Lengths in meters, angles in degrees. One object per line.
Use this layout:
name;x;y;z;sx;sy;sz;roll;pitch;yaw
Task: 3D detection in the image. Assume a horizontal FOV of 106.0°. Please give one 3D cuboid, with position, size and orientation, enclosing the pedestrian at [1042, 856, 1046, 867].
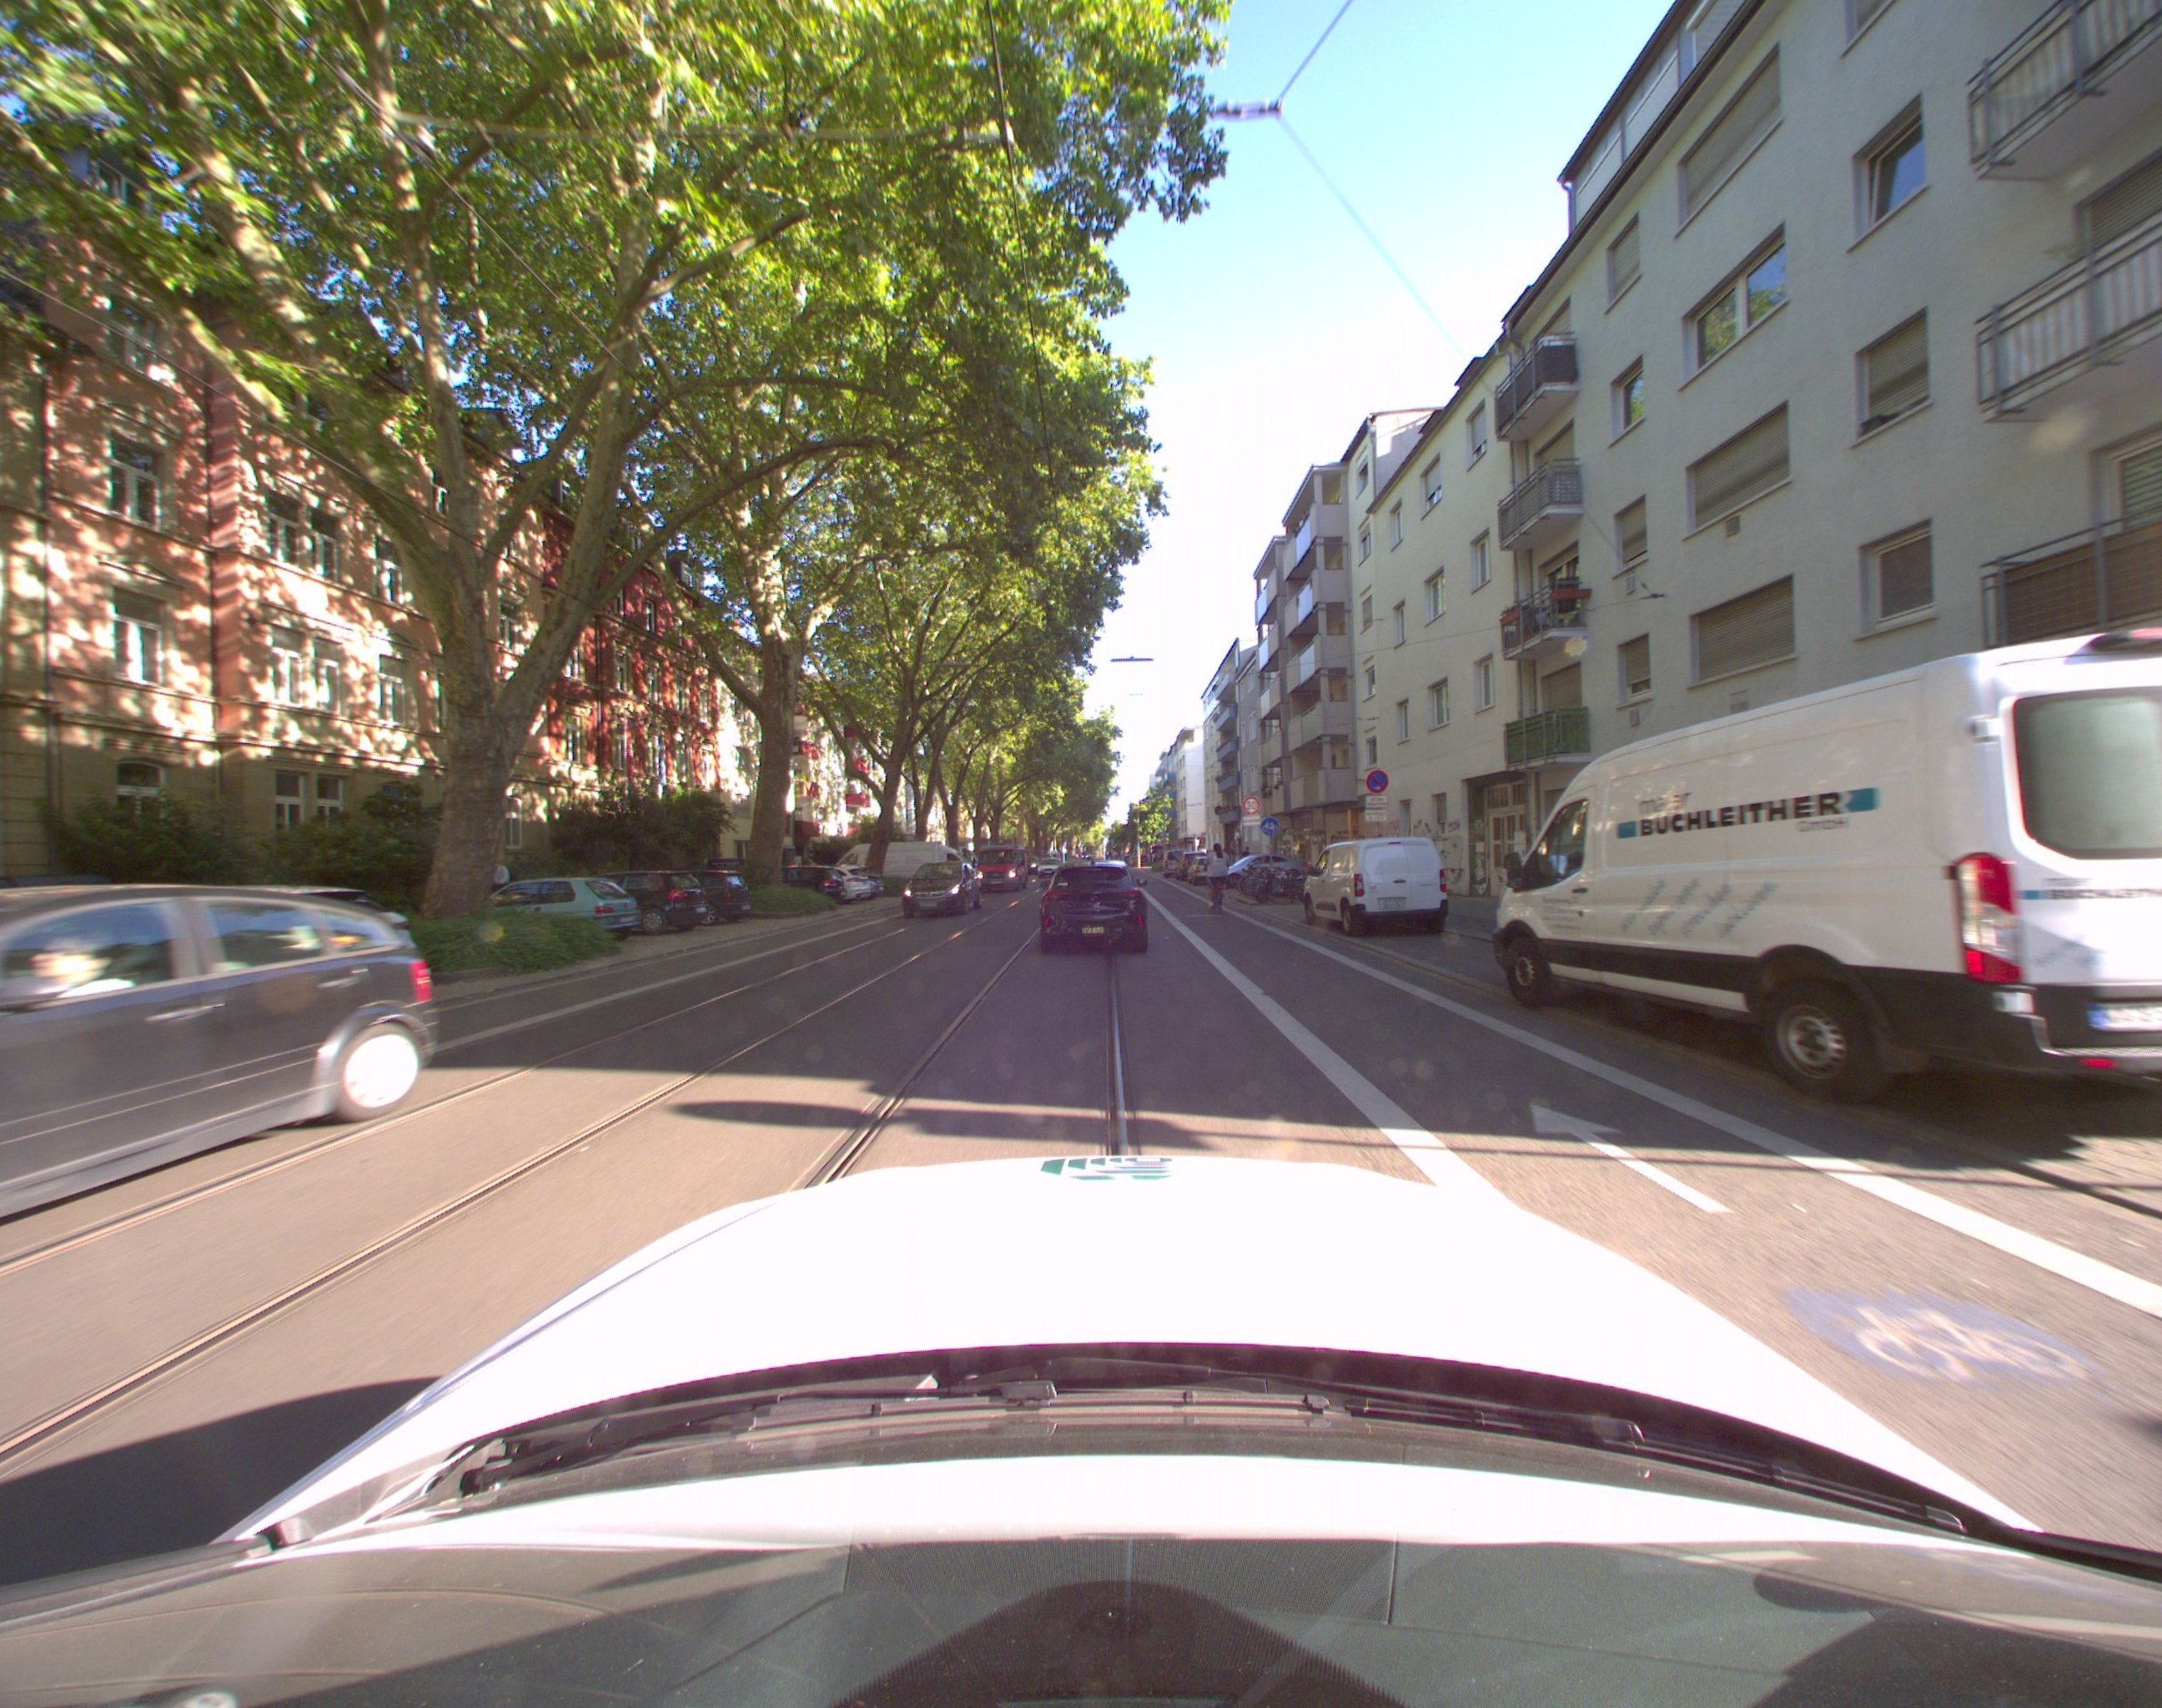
pedestrian;-5.590;1.092;123.138;0.505;1.583;0.526;-2;-1;-2

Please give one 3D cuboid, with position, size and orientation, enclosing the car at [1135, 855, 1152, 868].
car;8.115;1.009;106.727;1.714;1.574;4.081;-2;0;-2

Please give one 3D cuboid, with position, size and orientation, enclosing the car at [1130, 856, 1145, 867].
car;7.761;0.991;112.202;1.712;1.490;3.681;-2;0;0

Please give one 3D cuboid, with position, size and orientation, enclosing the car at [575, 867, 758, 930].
car;-10.912;1.148;21.602;3.970;1.460;1.706;-2;0;3

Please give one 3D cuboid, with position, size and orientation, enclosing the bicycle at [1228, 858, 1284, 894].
bicycle;6.345;0.782;29.590;1.885;1.191;0.457;-4;-1;1

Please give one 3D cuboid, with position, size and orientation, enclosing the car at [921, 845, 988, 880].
car;-9.871;0.629;63.873;4.930;2.567;2.081;-2;0;-2

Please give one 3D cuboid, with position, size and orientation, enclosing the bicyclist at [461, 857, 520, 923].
bicyclist;-16.305;0.968;22.505;0.827;1.763;1.048;-1;0;1

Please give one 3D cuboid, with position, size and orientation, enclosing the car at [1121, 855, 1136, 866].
car;7.552;1.067;131.100;1.989;1.640;3.996;-2;0;-2

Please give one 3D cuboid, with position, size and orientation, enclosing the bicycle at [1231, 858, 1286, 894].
bicycle;6.345;0.786;29.107;1.817;1.191;0.457;-4;-1;1

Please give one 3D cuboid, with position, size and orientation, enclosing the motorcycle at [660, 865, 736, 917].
motorcycle;-12.775;1.182;27.313;1.048;1.631;3.012;0;-1;2

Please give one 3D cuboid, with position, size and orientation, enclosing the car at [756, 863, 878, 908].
car;-9.952;1.174;30.939;3.972;1.496;1.831;-2;0;2

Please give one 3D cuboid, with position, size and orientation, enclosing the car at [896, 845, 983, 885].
car;-9.489;0.749;54.902;5.340;2.477;2.058;-2;0;1

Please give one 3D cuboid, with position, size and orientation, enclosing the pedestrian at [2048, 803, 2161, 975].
pedestrian;10.250;0.325;7.898;0.629;1.581;0.934;0;-1;3

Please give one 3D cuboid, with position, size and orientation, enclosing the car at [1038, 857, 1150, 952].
car;0.234;0.767;13.980;1.674;1.422;3.628;0;0;1

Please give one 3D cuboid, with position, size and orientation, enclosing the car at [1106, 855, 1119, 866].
car;4.977;0.946;127.756;1.851;1.651;4.003;-2;0;3

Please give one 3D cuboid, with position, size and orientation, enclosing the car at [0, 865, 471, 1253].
car;-5.138;0.881;3.852;1.630;1.510;3.691;-4;0;0

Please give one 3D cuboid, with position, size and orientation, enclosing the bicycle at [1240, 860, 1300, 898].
bicycle;6.357;0.826;27.438;1.787;1.148;0.705;-4;0;1

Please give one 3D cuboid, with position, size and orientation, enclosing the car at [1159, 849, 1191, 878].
car;6.527;0.617;56.973;1.850;1.890;4.928;-2;0;3

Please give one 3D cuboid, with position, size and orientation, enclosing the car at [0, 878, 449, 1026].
car;-10.280;1.092;9.715;3.973;1.460;1.879;-2;-2;0

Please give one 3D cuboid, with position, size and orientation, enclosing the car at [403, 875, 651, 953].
car;-11.246;1.191;16.695;3.971;1.369;1.606;-2;0;2

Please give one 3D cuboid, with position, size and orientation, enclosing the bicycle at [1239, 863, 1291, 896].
bicycle;6.336;0.885;28.131;1.647;1.020;0.457;-4;-1;1

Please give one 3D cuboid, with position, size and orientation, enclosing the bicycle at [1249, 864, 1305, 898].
bicycle;6.285;0.874;26.178;1.647;0.987;0.457;-4;-1;1

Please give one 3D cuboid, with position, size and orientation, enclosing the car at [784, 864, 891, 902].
car;-9.969;1.172;33.467;3.792;1.432;1.706;-1;0;3

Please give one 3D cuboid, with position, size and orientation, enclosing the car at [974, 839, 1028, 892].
car;-3.594;0.496;37.492;1.911;2.227;4.959;-2;0;0

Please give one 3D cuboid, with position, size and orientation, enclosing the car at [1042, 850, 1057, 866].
car;-5.411;0.735;140.141;2.085;2.584;5.998;-2;0;1

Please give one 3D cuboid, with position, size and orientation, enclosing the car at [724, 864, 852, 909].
car;-10.153;1.124;28.363;3.778;1.460;1.705;-1;0;2

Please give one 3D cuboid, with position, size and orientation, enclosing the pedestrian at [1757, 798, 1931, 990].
pedestrian;7.819;0.397;8.408;0.706;1.823;1.083;-3;-1;3

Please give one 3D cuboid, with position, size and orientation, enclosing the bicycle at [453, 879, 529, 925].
bicycle;-16.318;1.310;22.587;0.739;1.138;1.781;-1;0;1

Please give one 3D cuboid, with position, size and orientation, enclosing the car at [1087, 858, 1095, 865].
car;2.346;1.664;187.539;1.742;1.651;4.003;-2;0;3

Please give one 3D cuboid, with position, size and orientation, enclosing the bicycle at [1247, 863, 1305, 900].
bicycle;6.121;0.862;25.605;1.647;1.055;0.457;-4;-1;1

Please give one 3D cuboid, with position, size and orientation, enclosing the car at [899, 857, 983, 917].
car;-3.855;0.863;22.944;1.713;1.510;3.721;-2;0;-1

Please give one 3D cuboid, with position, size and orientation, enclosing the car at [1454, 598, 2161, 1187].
car;5.413;0.158;6.504;2.141;2.495;6.089;-1;-1;1

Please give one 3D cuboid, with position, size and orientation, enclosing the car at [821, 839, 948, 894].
car;-9.686;0.597;40.451;5.719;2.536;2.163;-1;0;1

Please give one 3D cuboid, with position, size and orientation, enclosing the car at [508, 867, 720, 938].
car;-10.939;1.113;19.269;3.970;1.460;1.772;-2;0;3

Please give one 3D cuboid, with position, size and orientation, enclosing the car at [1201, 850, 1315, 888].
car;7.936;0.648;36.726;4.614;1.437;1.858;-3;0;-10

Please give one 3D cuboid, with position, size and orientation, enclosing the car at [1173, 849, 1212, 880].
car;6.546;0.598;48.303;1.761;1.705;4.283;-2;0;1

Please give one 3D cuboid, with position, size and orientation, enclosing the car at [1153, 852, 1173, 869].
car;8.190;0.624;81.739;1.851;1.651;4.003;-2;0;3

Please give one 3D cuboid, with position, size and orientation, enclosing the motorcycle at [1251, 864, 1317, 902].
motorcycle;6.131;0.878;24.660;1.802;1.080;0.621;-3;-1;25

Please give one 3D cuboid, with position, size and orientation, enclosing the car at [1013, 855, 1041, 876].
car;-4.789;1.033;72.422;1.986;1.700;4.486;-3;0;1

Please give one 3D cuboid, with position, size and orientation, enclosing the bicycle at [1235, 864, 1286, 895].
bicycle;6.316;0.892;28.630;1.647;0.966;0.457;-4;0;1

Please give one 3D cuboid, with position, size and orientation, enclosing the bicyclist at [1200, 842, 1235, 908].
bicyclist;3.721;0.567;22.308;0.784;1.759;0.915;-1;-1;1

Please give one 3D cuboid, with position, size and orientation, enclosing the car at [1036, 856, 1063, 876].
car;-2.276;0.837;59.729;1.712;1.359;4.469;-2;0;0

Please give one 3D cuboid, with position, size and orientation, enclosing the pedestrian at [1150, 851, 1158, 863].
pedestrian;10.388;0.458;116.037;0.760;1.748;0.800;-2;-1;32

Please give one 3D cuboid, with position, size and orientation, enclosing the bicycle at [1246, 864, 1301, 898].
bicycle;6.298;0.889;26.723;1.647;0.987;0.457;-4;-1;1

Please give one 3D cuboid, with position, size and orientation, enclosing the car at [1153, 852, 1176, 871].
car;7.570;0.664;73.803;1.851;1.651;4.003;-2;0;3

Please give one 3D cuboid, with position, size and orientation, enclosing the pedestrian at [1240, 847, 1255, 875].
pedestrian;10.363;0.416;50.740;0.753;1.720;0.720;-2;0;0

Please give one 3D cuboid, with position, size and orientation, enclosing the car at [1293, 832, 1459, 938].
car;5.823;0.558;16.713;1.852;1.820;4.351;-2;0;1

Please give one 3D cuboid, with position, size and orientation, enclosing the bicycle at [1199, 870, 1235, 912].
bicycle;3.690;0.984;22.255;0.698;1.092;1.990;0;-1;1

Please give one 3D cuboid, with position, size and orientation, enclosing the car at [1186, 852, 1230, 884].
car;6.448;0.682;41.752;1.717;1.525;4.516;-2;0;3
